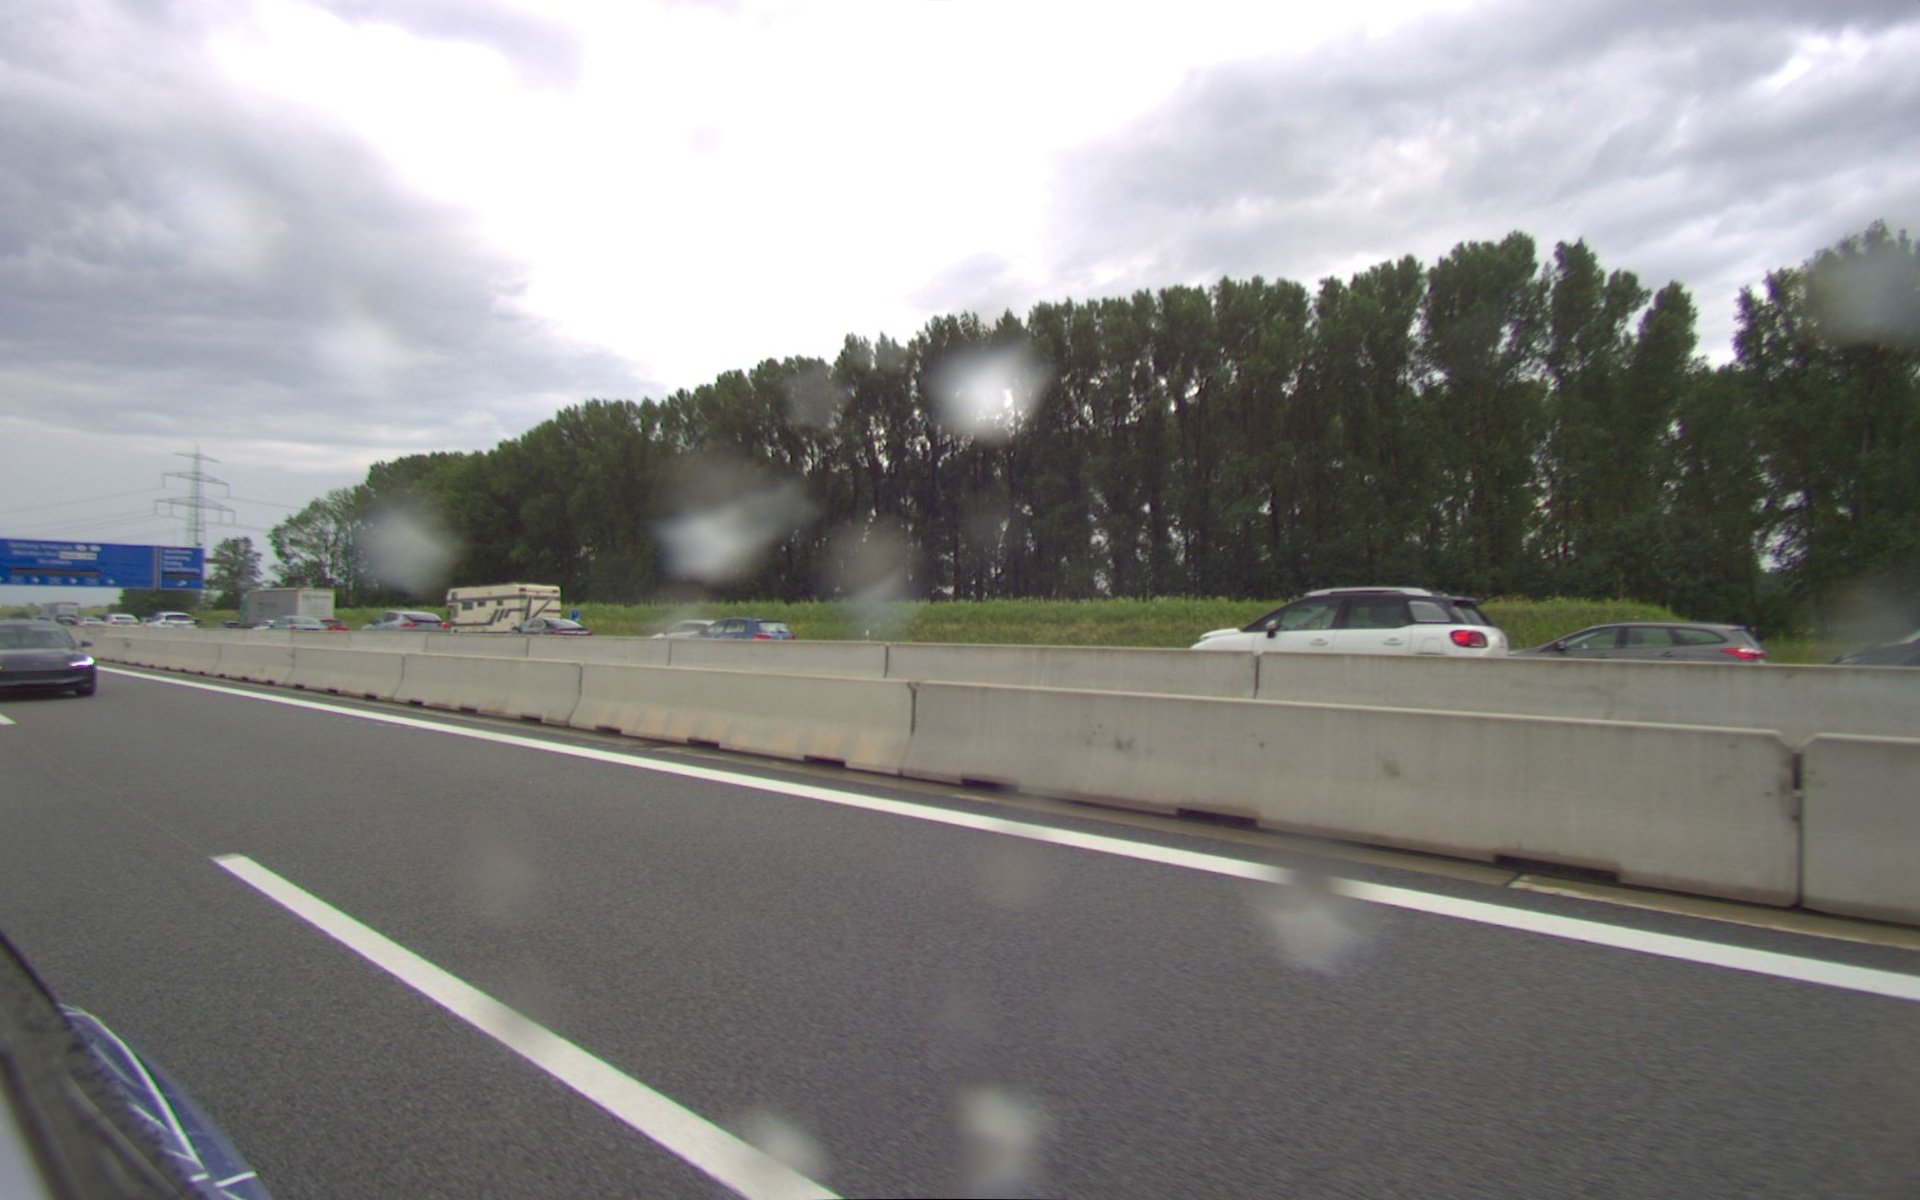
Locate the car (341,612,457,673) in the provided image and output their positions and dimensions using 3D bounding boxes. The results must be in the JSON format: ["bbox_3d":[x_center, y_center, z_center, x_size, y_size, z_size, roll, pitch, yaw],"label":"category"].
[{"bbox_3d":[-20.318,1.496,36.560,5.178,2.029,1.973,-1,-1,41],"label":"car"}]

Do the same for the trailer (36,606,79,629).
[{"bbox_3d":[-140.310,2.763,157.274,14.441,3.534,3.078,-1,-1,40],"label":"trailer"}]

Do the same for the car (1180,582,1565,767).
[{"bbox_3d":[5.277,0.849,13.270,4.263,2.029,1.973,-1,-1,42],"label":"car"}]

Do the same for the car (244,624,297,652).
[{"bbox_3d":[-48.679,2.641,71.400,4.397,1.869,1.973,-1,-1,40],"label":"car"}]

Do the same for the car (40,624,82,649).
[{"bbox_3d":[-74.453,2.997,83.758,5.184,1.912,1.973,-1,-1,41],"label":"car"}]

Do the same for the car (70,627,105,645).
[{"bbox_3d":[-86.807,3.604,100.704,5.075,1.717,1.973,-2,-2,41],"label":"car"}]

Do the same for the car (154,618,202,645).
[{"bbox_3d":[-57.889,2.297,74.865,4.636,1.948,1.973,-1,-1,41],"label":"car"}]

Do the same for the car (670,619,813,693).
[{"bbox_3d":[-6.588,1.598,30.260,4.534,2.029,1.831,-1,-1,41],"label":"car"}]

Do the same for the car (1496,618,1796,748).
[{"bbox_3d":[12.268,1.365,18.255,4.226,2.029,1.972,-1,-1,42],"label":"car"}]

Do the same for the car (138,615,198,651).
[{"bbox_3d":[-46.415,1.914,59.282,4.761,2.029,1.972,-1,-1,42],"label":"car"}]

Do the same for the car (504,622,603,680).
[{"bbox_3d":[-15.171,1.836,37.653,3.997,2.029,1.786,-1,-1,41],"label":"car"}]

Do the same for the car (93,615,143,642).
[{"bbox_3d":[-60.573,2.028,72.785,5.075,1.867,1.973,-2,-2,41],"label":"car"}]

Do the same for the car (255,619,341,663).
[{"bbox_3d":[-29.953,1.832,45.745,4.632,1.869,1.973,-1,-1,40],"label":"car"}]

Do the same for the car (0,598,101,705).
[{"bbox_3d":[-18.089,0.931,19.362,5.163,1.834,1.972,-1,-1,43],"label":"car"}]

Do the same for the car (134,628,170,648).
[{"bbox_3d":[-80.685,3.779,100.982,5.075,1.867,1.973,-2,-2,41],"label":"car"}]

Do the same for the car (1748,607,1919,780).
[{"bbox_3d":[12.347,1.094,12.304,4.226,2.029,1.972,-1,-1,42],"label":"car"}]

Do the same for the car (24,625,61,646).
[{"bbox_3d":[-88.320,3.371,97.356,5.182,1.900,1.973,-1,-1,40],"label":"car"}]

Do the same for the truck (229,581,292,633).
[{"bbox_3d":[-59.917,0.660,86.647,5.908,4.314,3.086,-1,-2,41],"label":"truck"}]

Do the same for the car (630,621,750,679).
[{"bbox_3d":[-10.183,1.823,37.938,4.805,2.029,1.973,-1,-1,41],"label":"car"}]

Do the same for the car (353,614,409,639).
[{"bbox_3d":[-39.871,1.803,69.649,4.397,1.630,1.973,-1,-1,40],"label":"car"}]

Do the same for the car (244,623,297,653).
[{"bbox_3d":[-48.899,2.672,71.734,4.636,2.029,1.973,-1,-1,41],"label":"car"}]

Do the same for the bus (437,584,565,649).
[{"bbox_3d":[-25.910,0.931,56.807,9.961,3.358,2.801,-1,-1,42],"label":"bus"}]

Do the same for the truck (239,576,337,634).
[{"bbox_3d":[-54.793,0.488,82.216,13.945,4.345,3.115,-1,-1,41],"label":"truck"}]

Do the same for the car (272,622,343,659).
[{"bbox_3d":[-34.507,2.112,53.489,4.636,1.842,1.973,-1,-1,41],"label":"car"}]
